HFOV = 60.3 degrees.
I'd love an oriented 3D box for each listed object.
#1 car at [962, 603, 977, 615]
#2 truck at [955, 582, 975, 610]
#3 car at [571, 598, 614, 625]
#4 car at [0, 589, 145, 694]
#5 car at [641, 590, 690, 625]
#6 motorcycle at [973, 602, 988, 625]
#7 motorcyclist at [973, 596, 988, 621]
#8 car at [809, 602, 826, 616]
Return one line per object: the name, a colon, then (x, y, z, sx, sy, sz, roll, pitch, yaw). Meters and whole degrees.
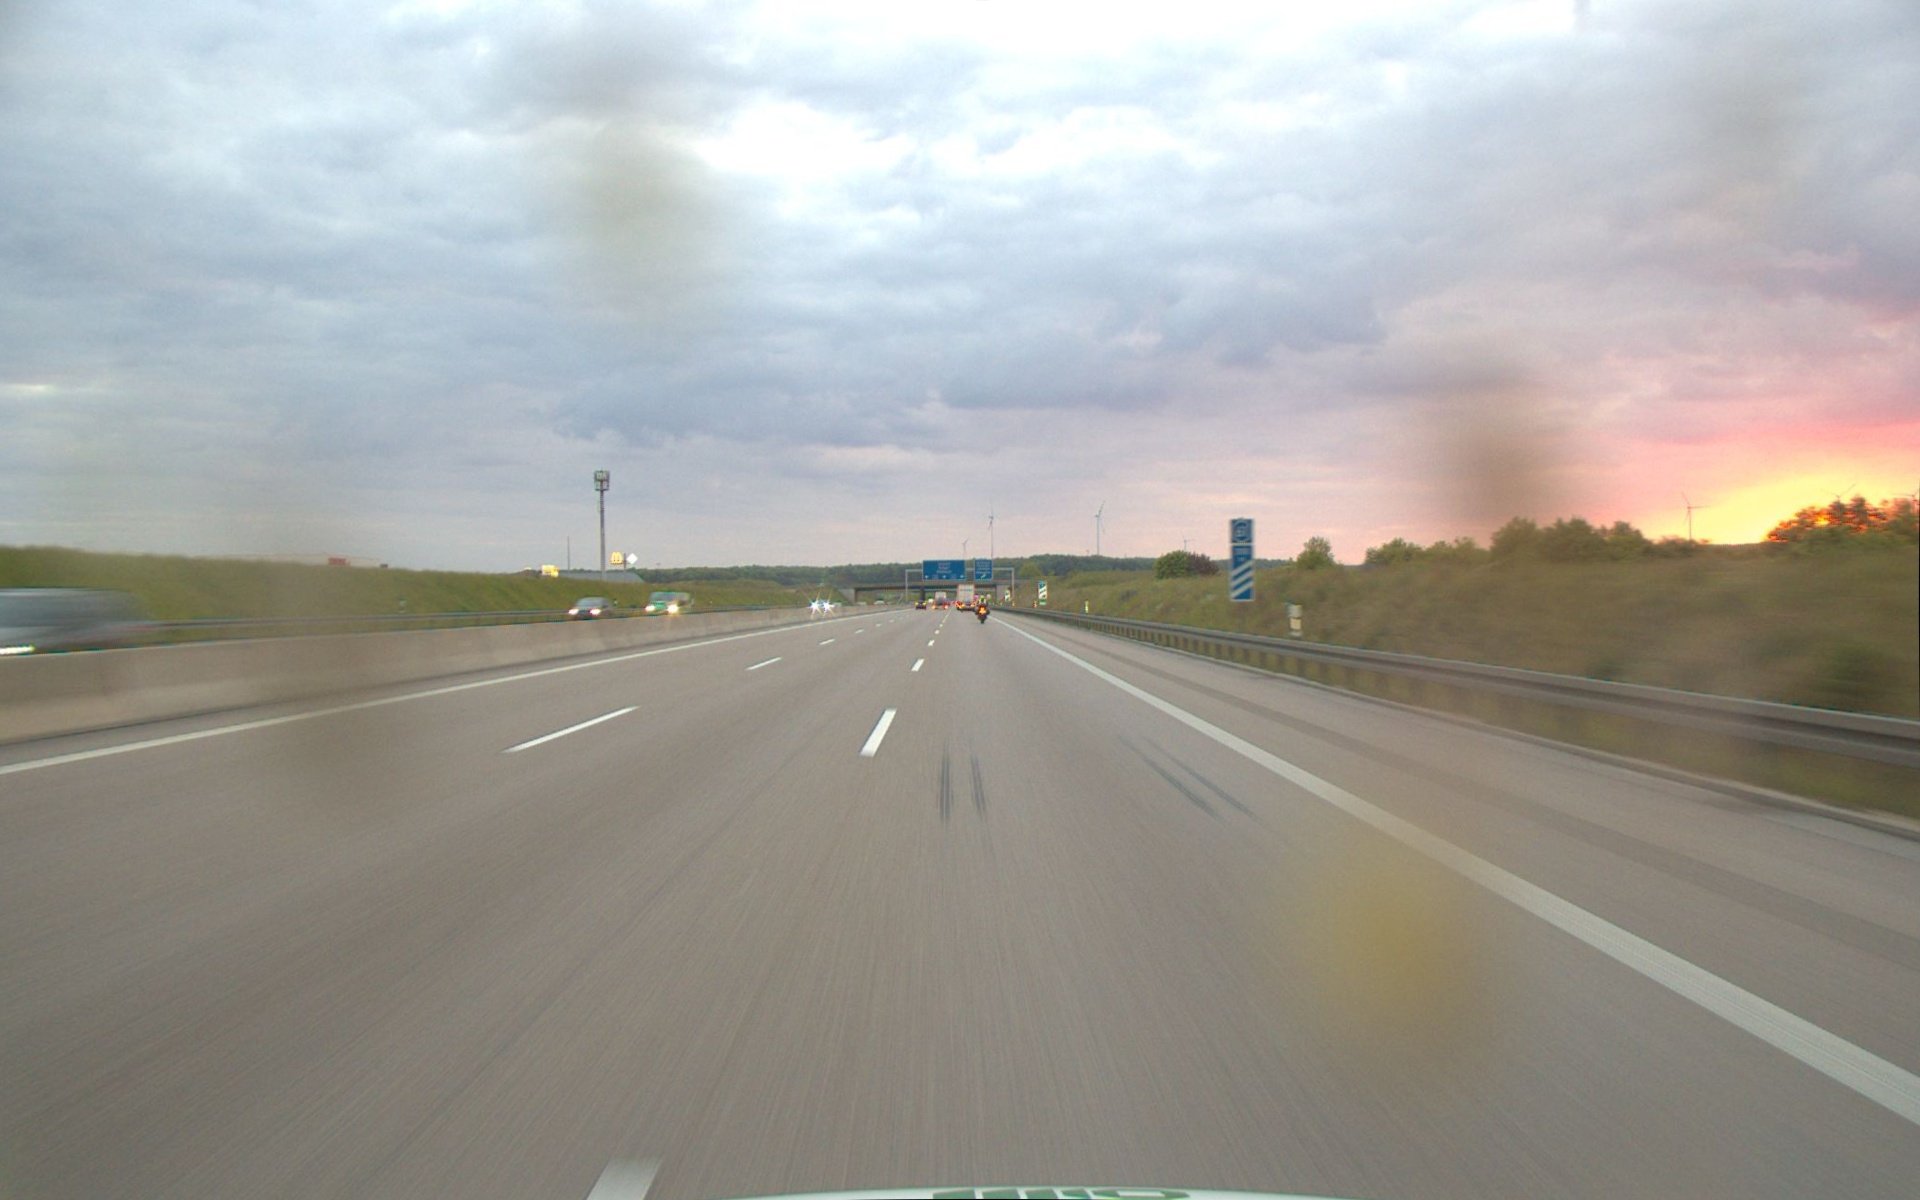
car: (1.286, 1.237, 220.793, 1.879, 1.607, 3.999, 0, 0, -1)
truck: (0.796, -0.626, 264.398, 3.167, 4.301, 9.598, 1, 0, 0)
car: (-21.645, 0.672, 97.647, 1.597, 1.544, 4.426, 1, 0, -1)
car: (-14.189, 0.569, 24.710, 1.774, 1.460, 4.670, 0, 0, -1)
car: (-17.652, 0.430, 99.412, 1.962, 2.049, 5.736, 0, 0, -1)
motorcycle: (1.271, 0.804, 101.200, 0.883, 1.370, 2.349, 0, 1, 0)
motorcyclist: (1.270, 0.510, 101.093, 0.848, 1.513, 1.168, 1, 0, 1)
car: (-18.877, 1.192, 219.045, 2.057, 1.842, 5.019, 0, 0, -2)
